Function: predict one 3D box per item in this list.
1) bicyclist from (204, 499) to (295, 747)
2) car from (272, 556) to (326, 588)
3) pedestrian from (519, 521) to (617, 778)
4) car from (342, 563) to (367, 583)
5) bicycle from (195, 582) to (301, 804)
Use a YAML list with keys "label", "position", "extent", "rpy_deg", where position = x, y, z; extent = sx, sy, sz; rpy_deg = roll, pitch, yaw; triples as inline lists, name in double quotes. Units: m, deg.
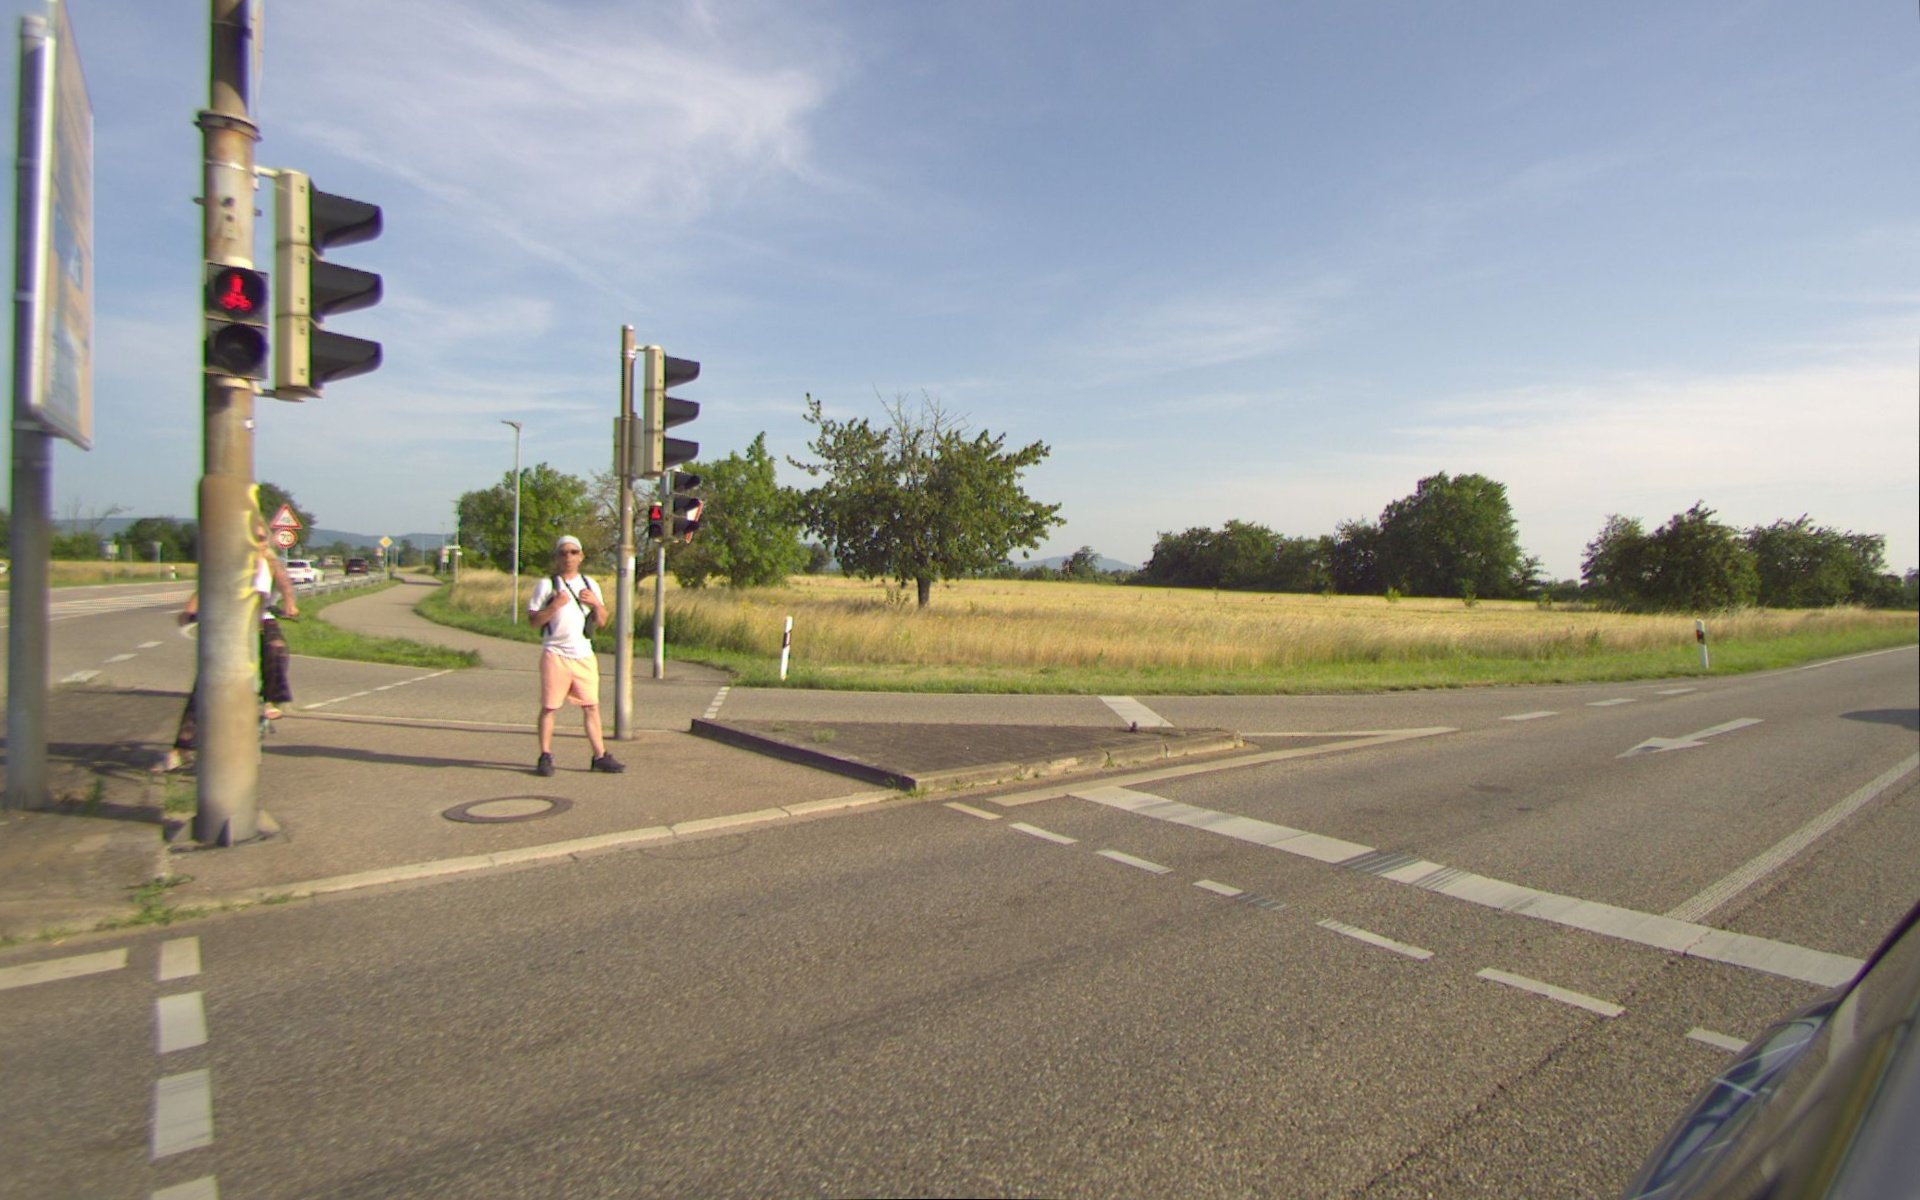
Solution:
- label: "bicyclist"
  position: [-4.935, 0.149, 7.049]
  extent: [0.494, 1.632, 0.560]
  rpy_deg: [0, 0, -33]
- label: "car"
  position: [-36.717, -1.514, 56.308]
  extent: [1.698, 1.683, 4.008]
  rpy_deg: [0, 0, -21]
- label: "pedestrian"
  position: [-2.871, 0.334, 7.401]
  extent: [0.586, 1.773, 0.624]
  rpy_deg: [0, 0, -29]
- label: "car"
  position: [-56.562, -2.485, 94.519]
  extent: [1.727, 1.738, 3.770]
  rpy_deg: [0, 0, -27]
- label: "bicycle"
  position: [-4.823, 0.538, 6.843]
  extent: [0.519, 1.305, 1.859]
  rpy_deg: [0, 0, -36]
